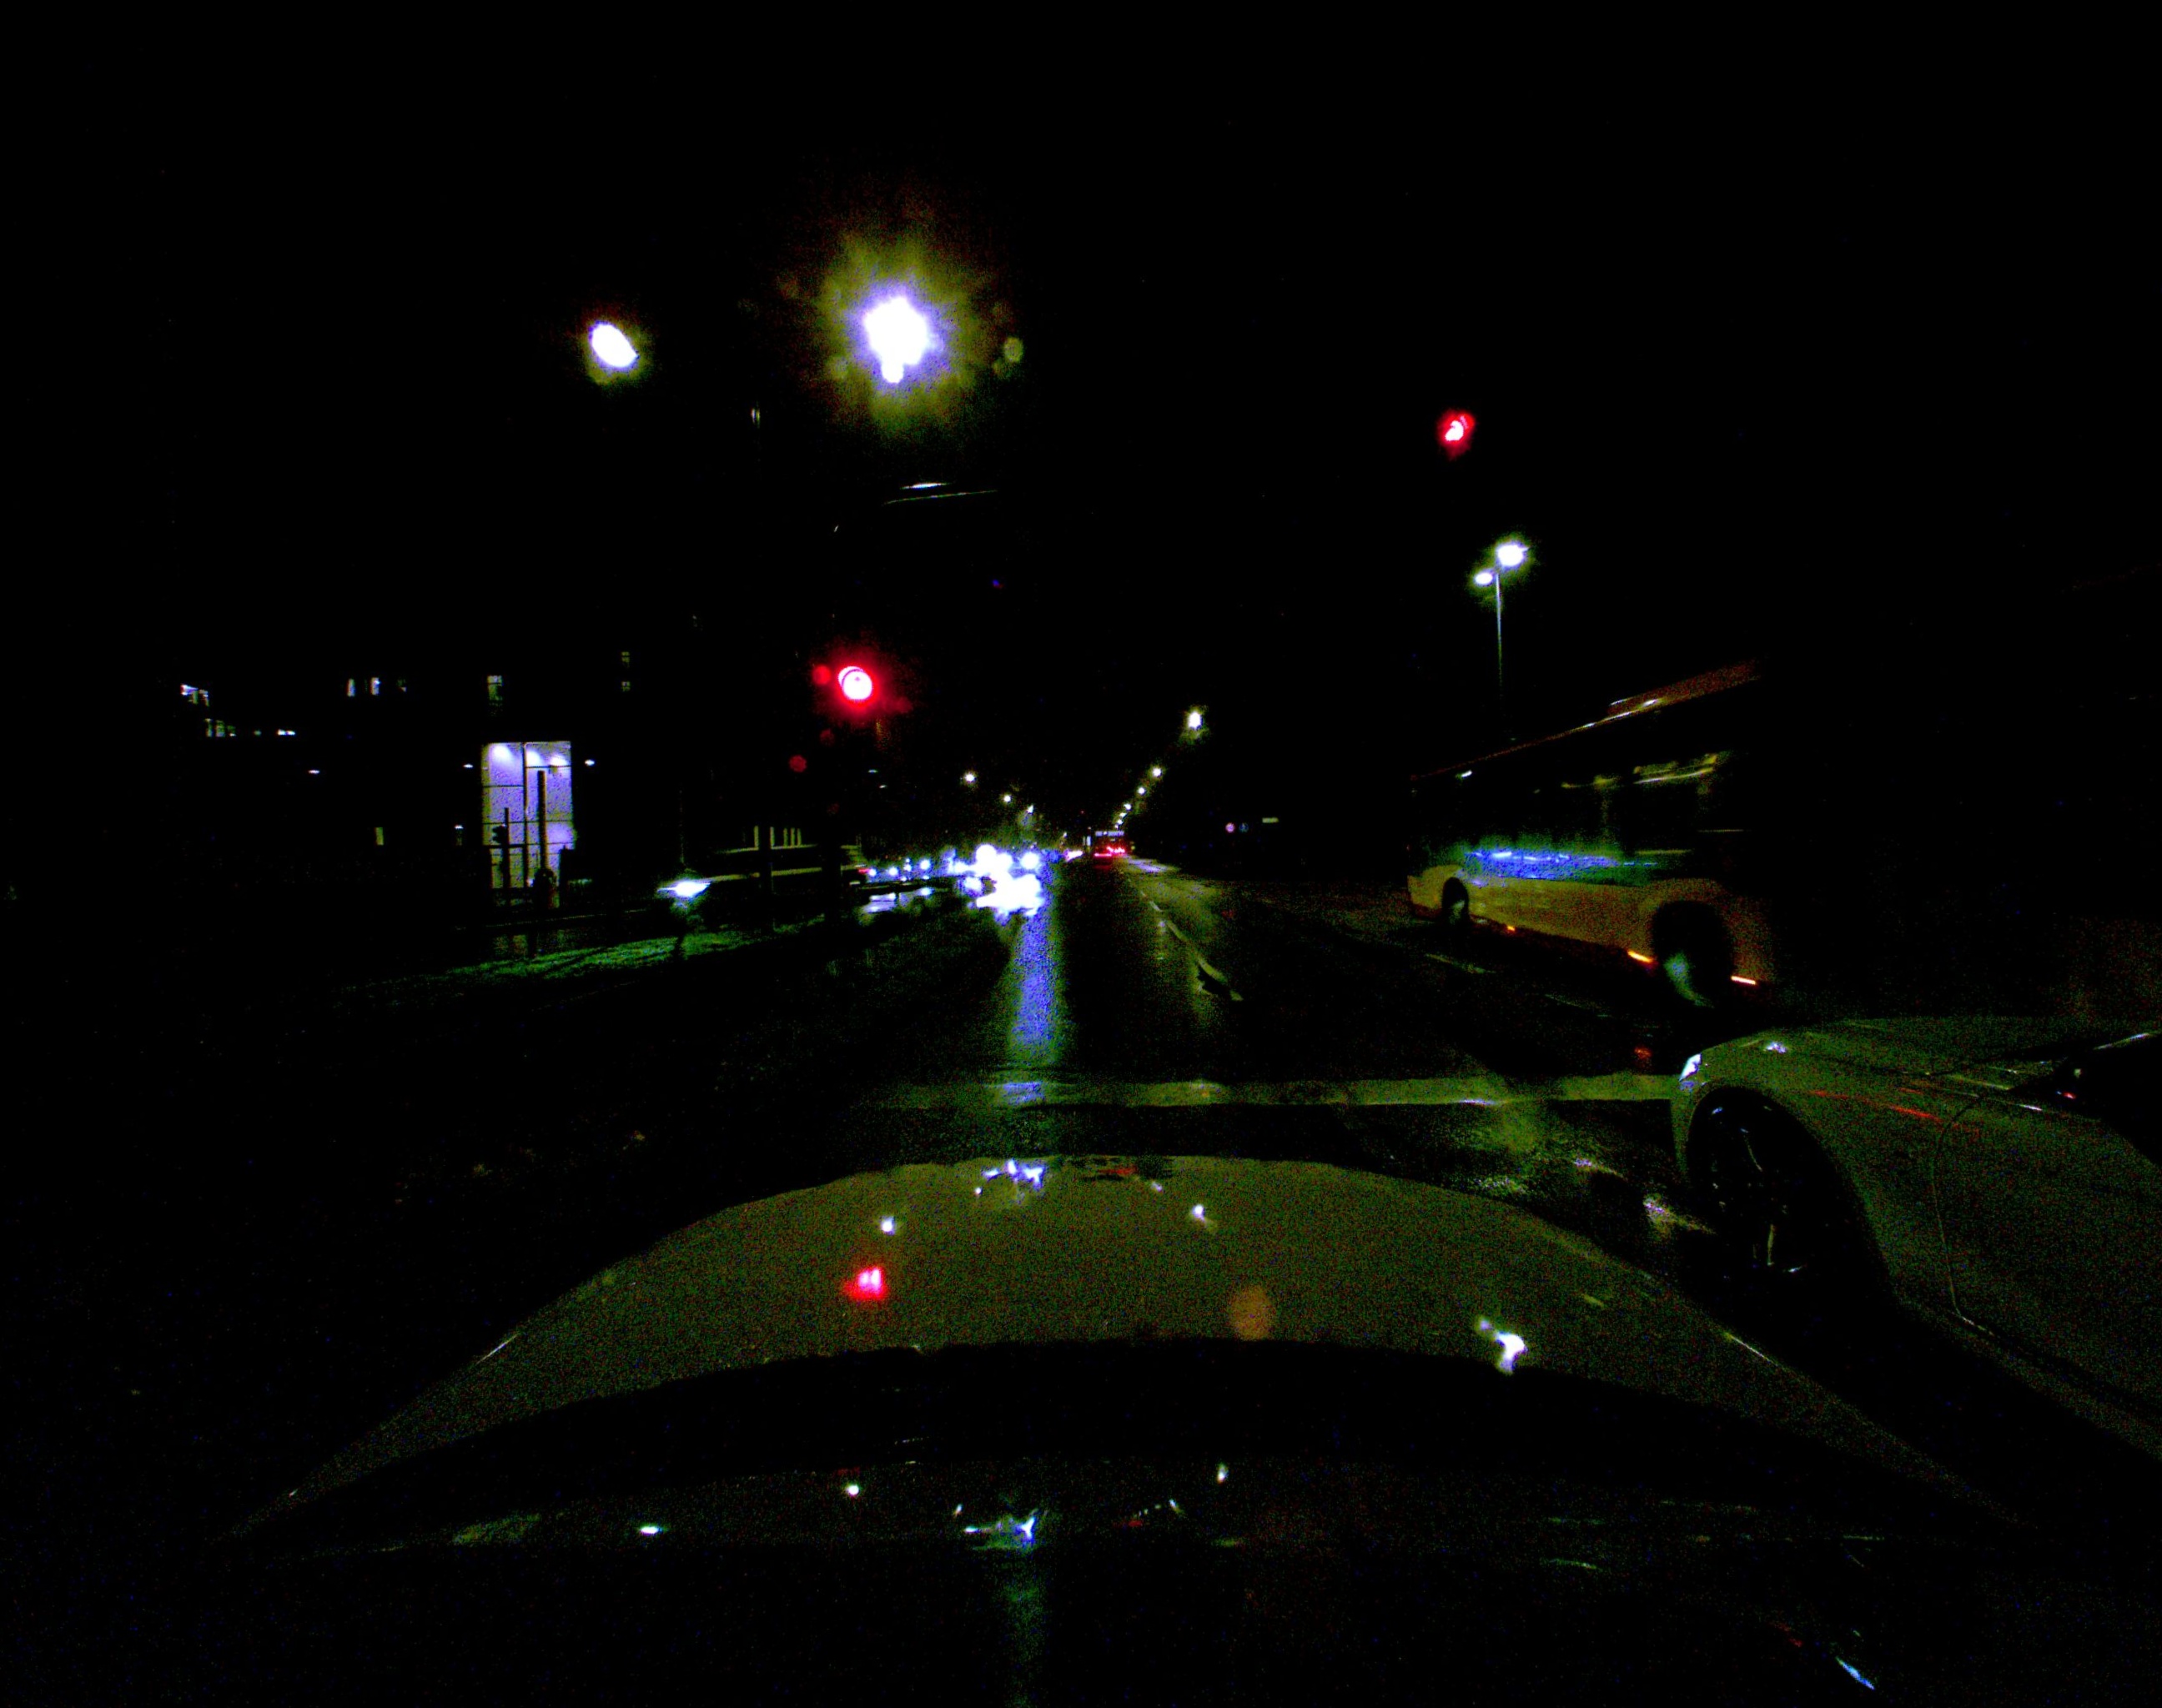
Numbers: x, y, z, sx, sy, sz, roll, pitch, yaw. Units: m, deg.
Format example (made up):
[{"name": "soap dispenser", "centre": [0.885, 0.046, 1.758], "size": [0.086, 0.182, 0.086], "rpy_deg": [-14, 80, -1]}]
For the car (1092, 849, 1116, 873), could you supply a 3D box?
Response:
[{"name": "car", "centre": [2.166, 0.629, 76.709], "size": [2.127, 2.145, 4.929], "rpy_deg": [0, -1, 1]}]

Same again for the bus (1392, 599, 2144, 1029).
[{"name": "bus", "centre": [6.895, -0.303, 10.910], "size": [2.754, 3.123, 9.780], "rpy_deg": [0, 0, 7]}]

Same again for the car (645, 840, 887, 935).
[{"name": "car", "centre": [-7.474, 0.690, 19.826], "size": [1.974, 1.984, 5.142], "rpy_deg": [-2, 0, 40]}]

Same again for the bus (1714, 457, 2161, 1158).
[{"name": "bus", "centre": [6.141, -0.205, 1.368], "size": [2.759, 3.123, 9.765], "rpy_deg": [0, 0, 1]}]

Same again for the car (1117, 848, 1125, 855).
[{"name": "car", "centre": [10.719, -0.646, 219.018], "size": [1.986, 1.759, 4.001], "rpy_deg": [0, -1, 2]}]

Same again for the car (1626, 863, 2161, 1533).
[{"name": "car", "centre": [3.125, 0.726, 1.298], "size": [1.710, 1.404, 4.351], "rpy_deg": [0, -1, 2]}]
